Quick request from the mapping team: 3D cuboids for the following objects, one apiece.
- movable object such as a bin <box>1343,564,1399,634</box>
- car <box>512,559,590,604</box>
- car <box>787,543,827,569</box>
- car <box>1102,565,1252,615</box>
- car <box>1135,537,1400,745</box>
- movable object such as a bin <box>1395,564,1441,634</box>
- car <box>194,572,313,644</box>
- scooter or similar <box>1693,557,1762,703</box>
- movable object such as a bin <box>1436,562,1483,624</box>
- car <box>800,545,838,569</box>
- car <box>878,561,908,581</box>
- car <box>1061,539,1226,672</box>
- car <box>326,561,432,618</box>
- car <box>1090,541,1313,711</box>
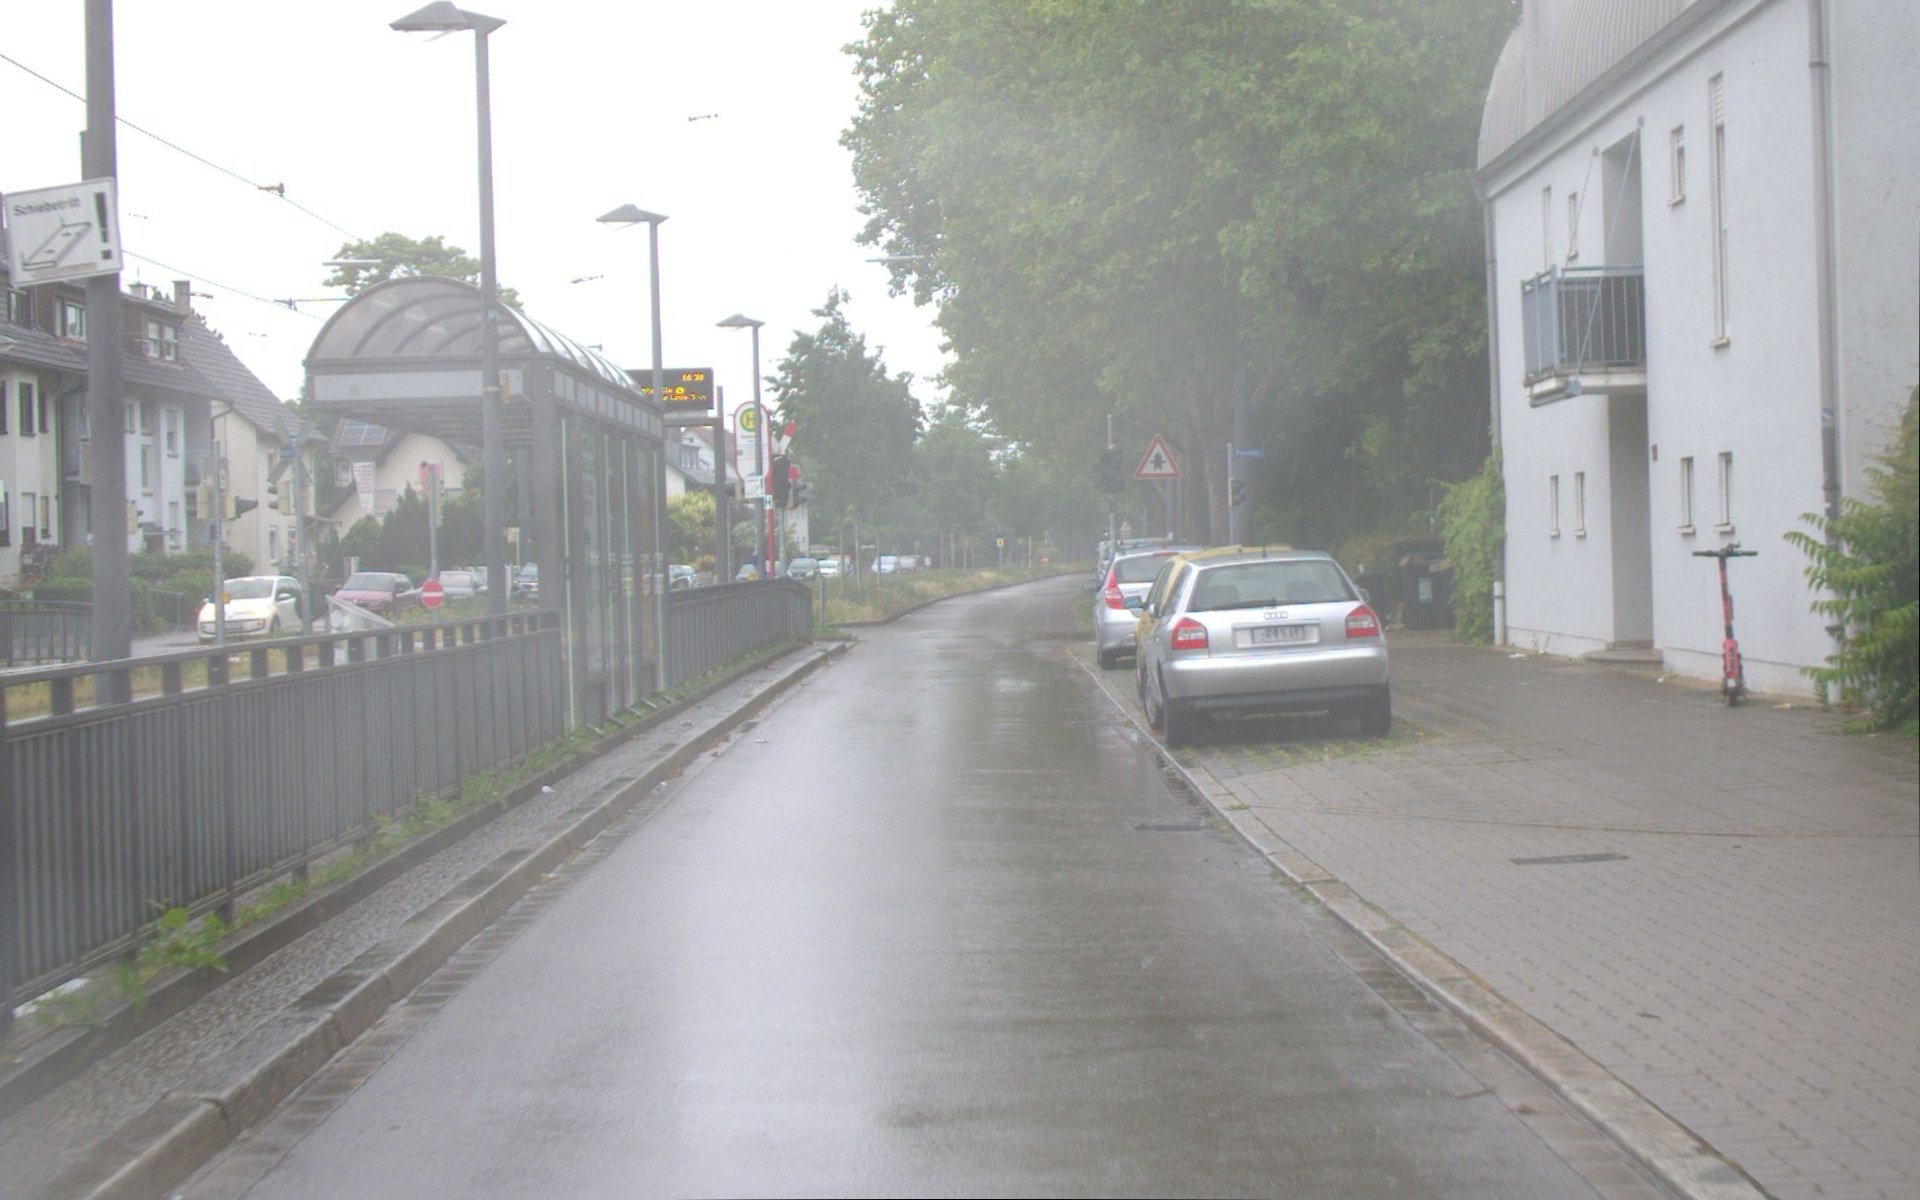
[{"bbox_3d":[6.311,-0.019,52.808,0.692,1.018,0.824,-4,0,0],"label":"movable object such as a bin"},{"bbox_3d":[-13.863,-0.620,116.758,1.928,1.481,3.999,0,0,4],"label":"car"},{"bbox_3d":[-9.052,-2.593,203.284,1.928,1.481,3.999,0,0,4],"label":"car"},{"bbox_3d":[6.400,-0.303,101.475,3.986,1.448,2.001,0,0,-14],"label":"car"},{"bbox_3d":[2.368,0.302,27.463,1.650,1.400,4.649,-4,0,1],"label":"car"},{"bbox_3d":[6.942,-0.019,52.140,0.536,1.018,0.739,-4,0,0],"label":"movable object such as a bin"},{"bbox_3d":[-15.103,0.173,73.649,1.633,1.488,4.000,0,0,1],"label":"car"},{"bbox_3d":[5.866,0.223,26.308,0.333,1.081,1.395,0,0,5],"label":"scooter or similar"},{"bbox_3d":[7.549,-0.109,51.981,0.536,0.896,0.739,-4,0,0],"label":"movable object such as a bin"},{"bbox_3d":[-8.785,-2.674,214.601,1.928,1.481,3.999,0,0,4],"label":"car"},{"bbox_3d":[-5.007,-2.195,258.095,1.928,1.481,3.999,0,0,4],"label":"car"},{"bbox_3d":[2.258,0.069,43.167,1.807,1.462,3.794,-4,0,1],"label":"car"},{"bbox_3d":[-15.491,-0.264,91.890,1.928,1.481,3.999,0,0,4],"label":"car"},{"bbox_3d":[2.247,0.238,32.902,1.807,1.400,3.794,-4,0,1],"label":"car"}]
